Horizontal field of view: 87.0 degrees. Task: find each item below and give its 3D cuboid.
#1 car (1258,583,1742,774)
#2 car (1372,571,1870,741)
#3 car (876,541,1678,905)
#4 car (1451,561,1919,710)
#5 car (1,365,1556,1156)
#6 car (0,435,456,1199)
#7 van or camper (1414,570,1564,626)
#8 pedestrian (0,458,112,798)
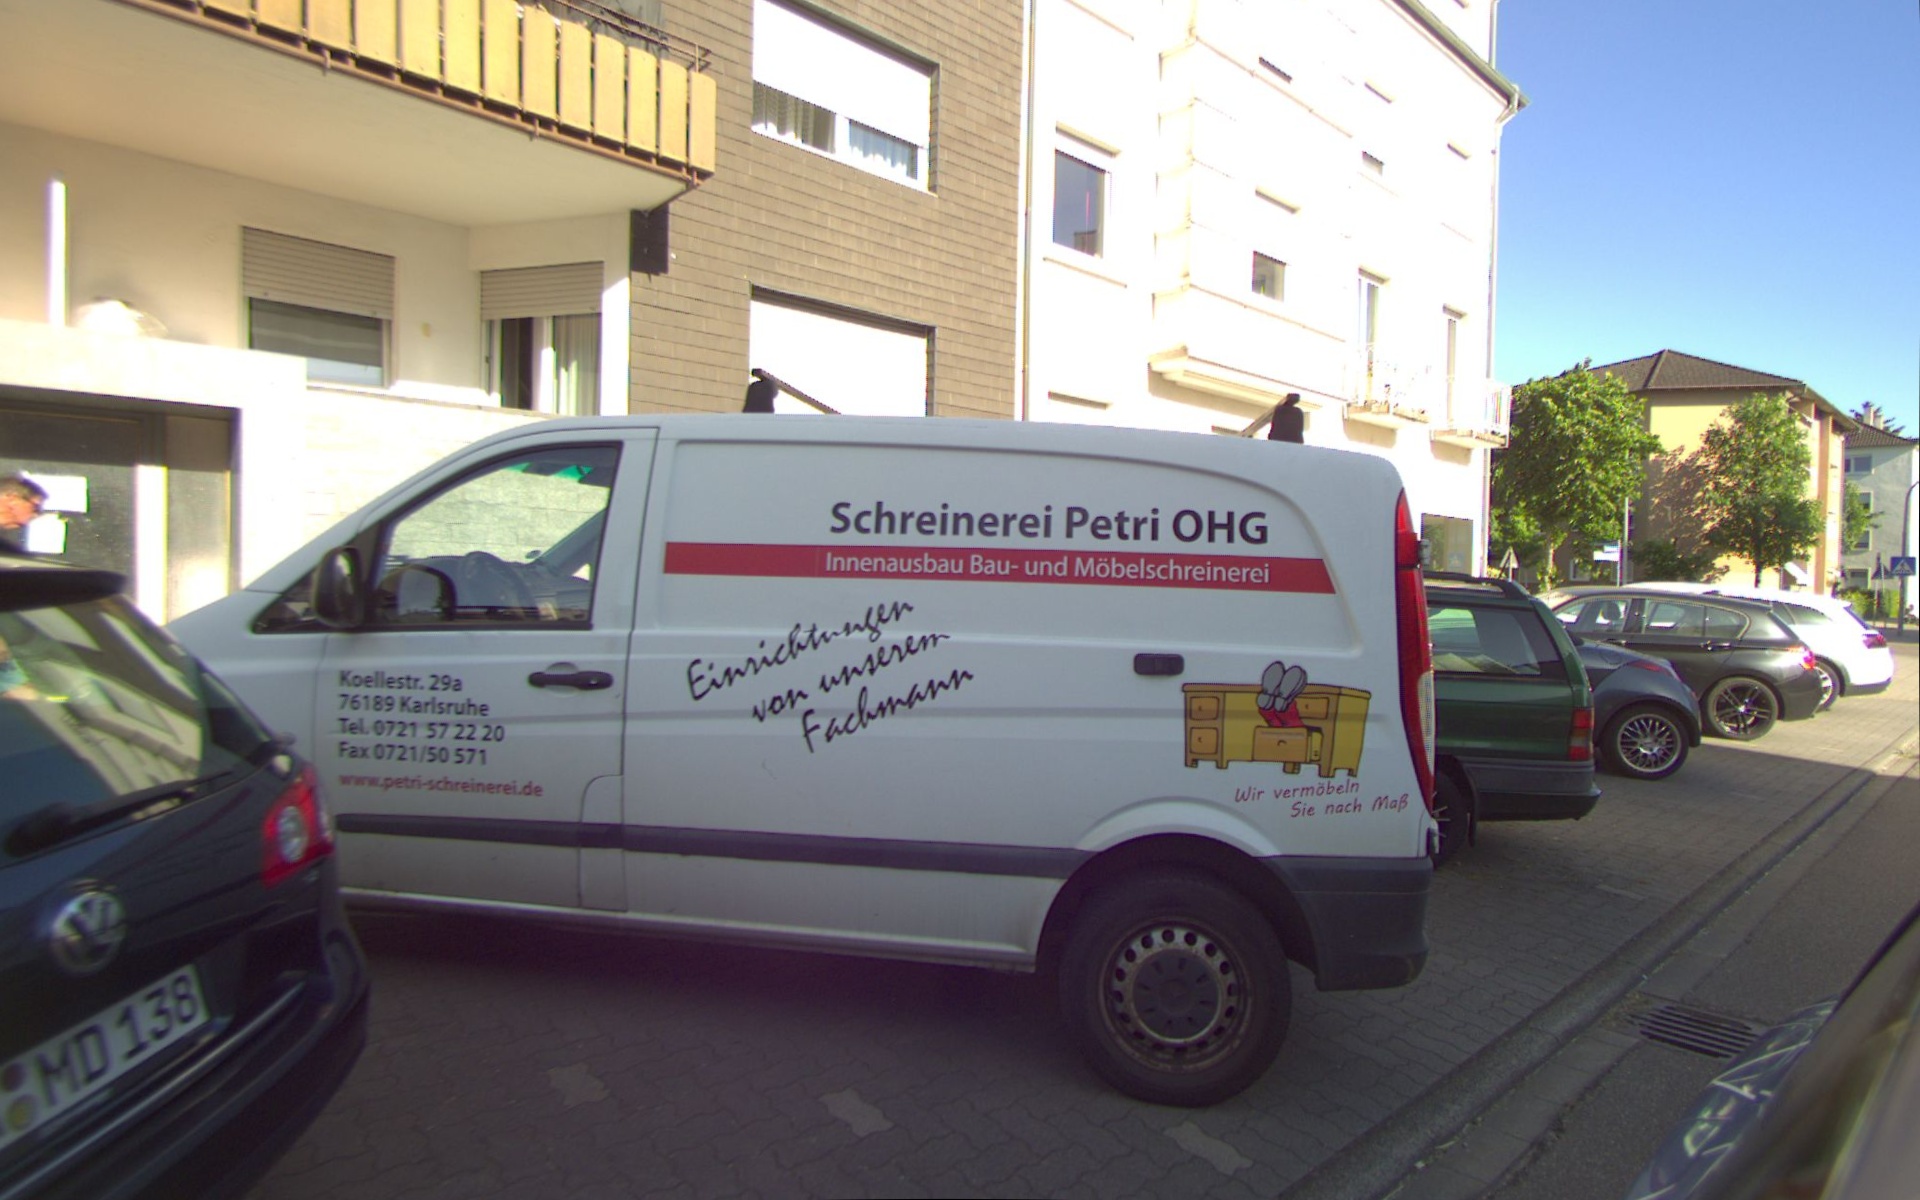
[{"bbox_3d":[4.436,0.583,8.788,3.341,1.405,1.536,1,1,9],"label":"car"},{"bbox_3d":[6.842,0.492,11.025,4.112,1.515,1.815,1,3,16],"label":"car"},{"bbox_3d":[1.638,0.500,6.089,3.945,1.507,1.609,4,5,18],"label":"car"},{"bbox_3d":[9.432,0.380,13.466,4.804,1.482,1.965,4,2,15],"label":"car"},{"bbox_3d":[-0.655,0.268,3.856,4.455,1.920,2.047,3,4,9],"label":"car"},{"bbox_3d":[-3.296,0.501,1.542,4.250,1.531,1.755,2,2,5],"label":"car"},{"bbox_3d":[20.144,-0.167,38.901,1.954,1.885,5.400,-1,3,-15],"label":"van or camper"},{"bbox_3d":[-4.862,0.114,5.072,0.872,1.613,0.835,0,2,-36],"label":"pedestrian"}]
